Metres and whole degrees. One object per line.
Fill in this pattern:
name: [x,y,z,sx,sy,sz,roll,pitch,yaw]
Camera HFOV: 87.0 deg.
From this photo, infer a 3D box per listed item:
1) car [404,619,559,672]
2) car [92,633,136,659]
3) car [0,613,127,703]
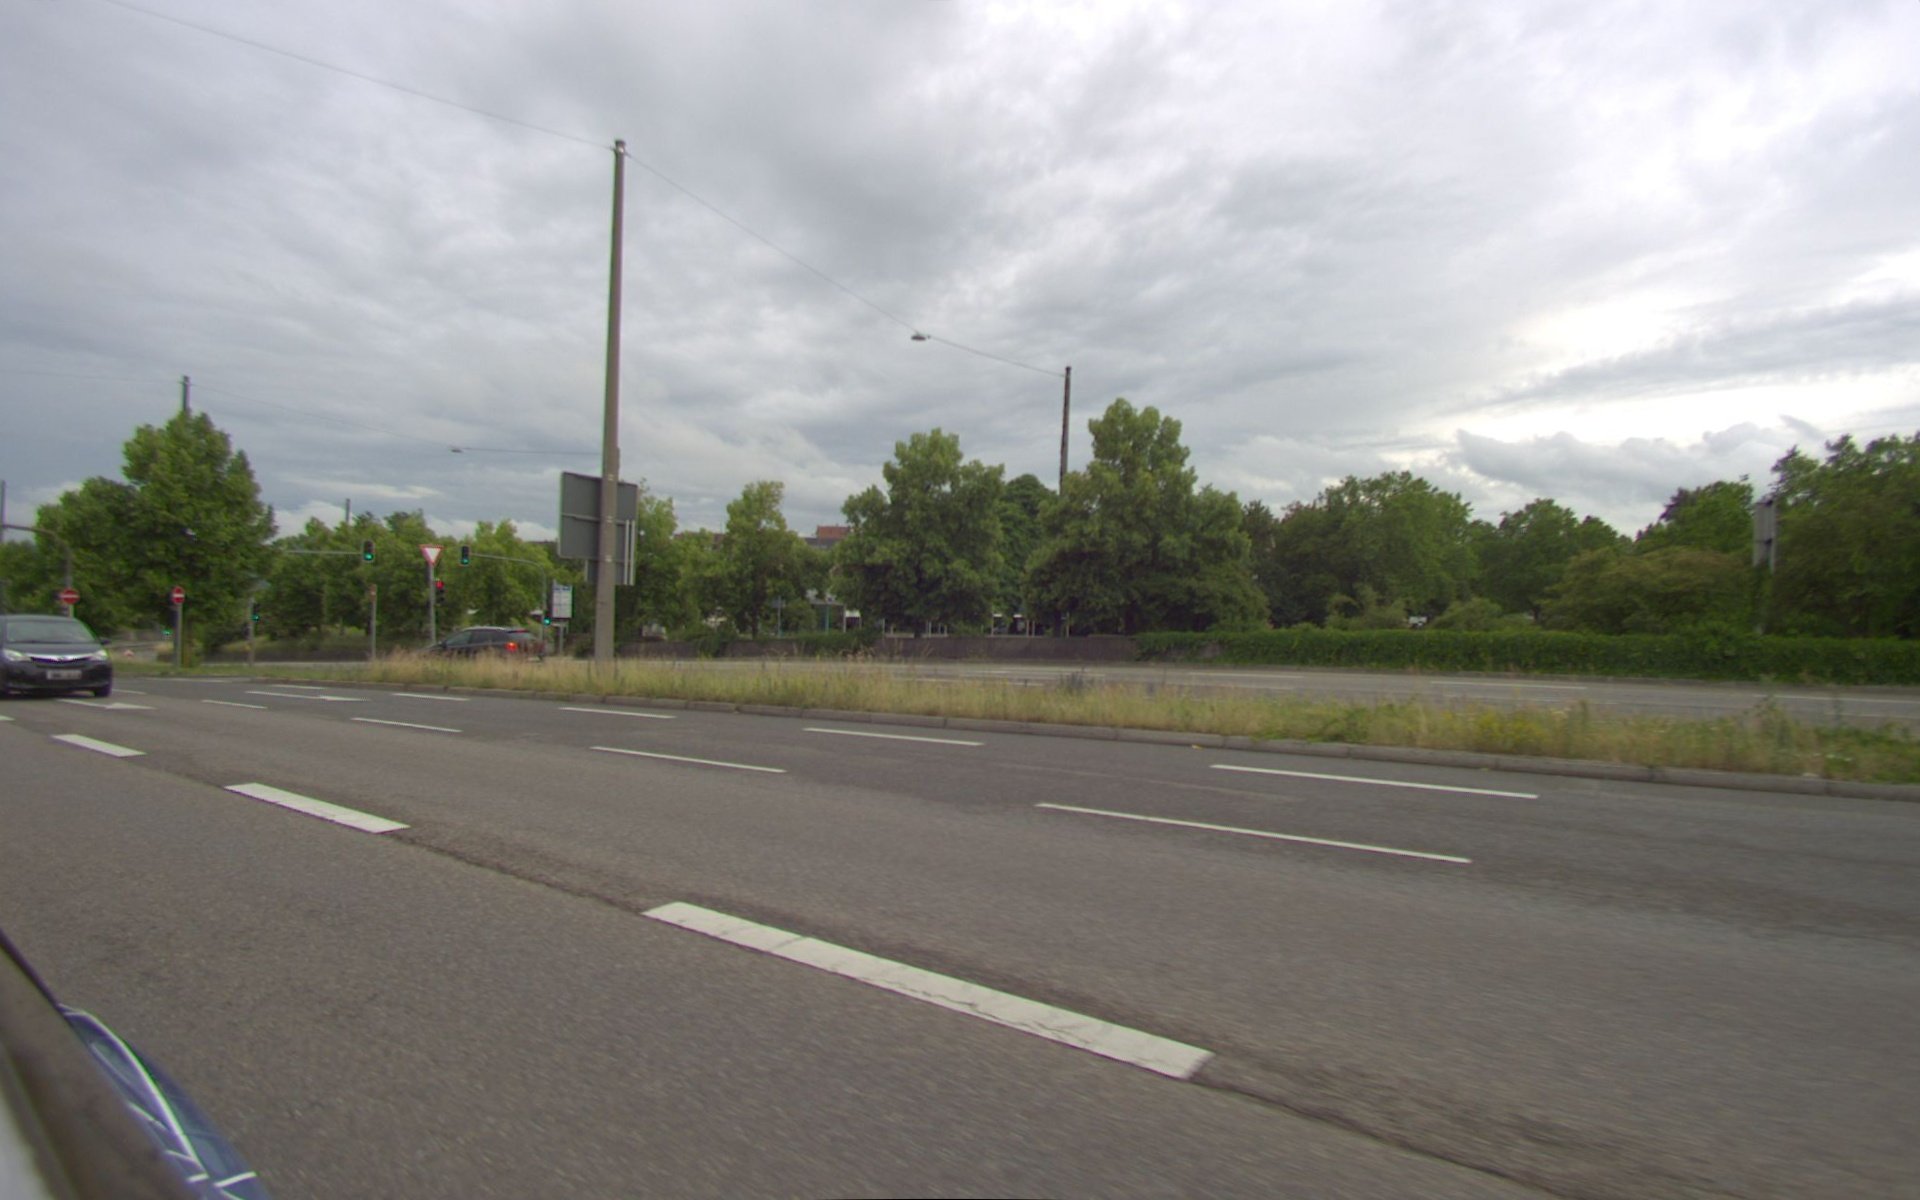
car: [-14.311,1.373,30.312,3.965,1.519,1.885,-1,-3,17]
car: [-68.774,3.737,82.281,3.996,2.029,1.974,-3,-4,39]
car: [-17.919,1.094,19.595,4.035,1.577,1.780,-2,-3,36]
